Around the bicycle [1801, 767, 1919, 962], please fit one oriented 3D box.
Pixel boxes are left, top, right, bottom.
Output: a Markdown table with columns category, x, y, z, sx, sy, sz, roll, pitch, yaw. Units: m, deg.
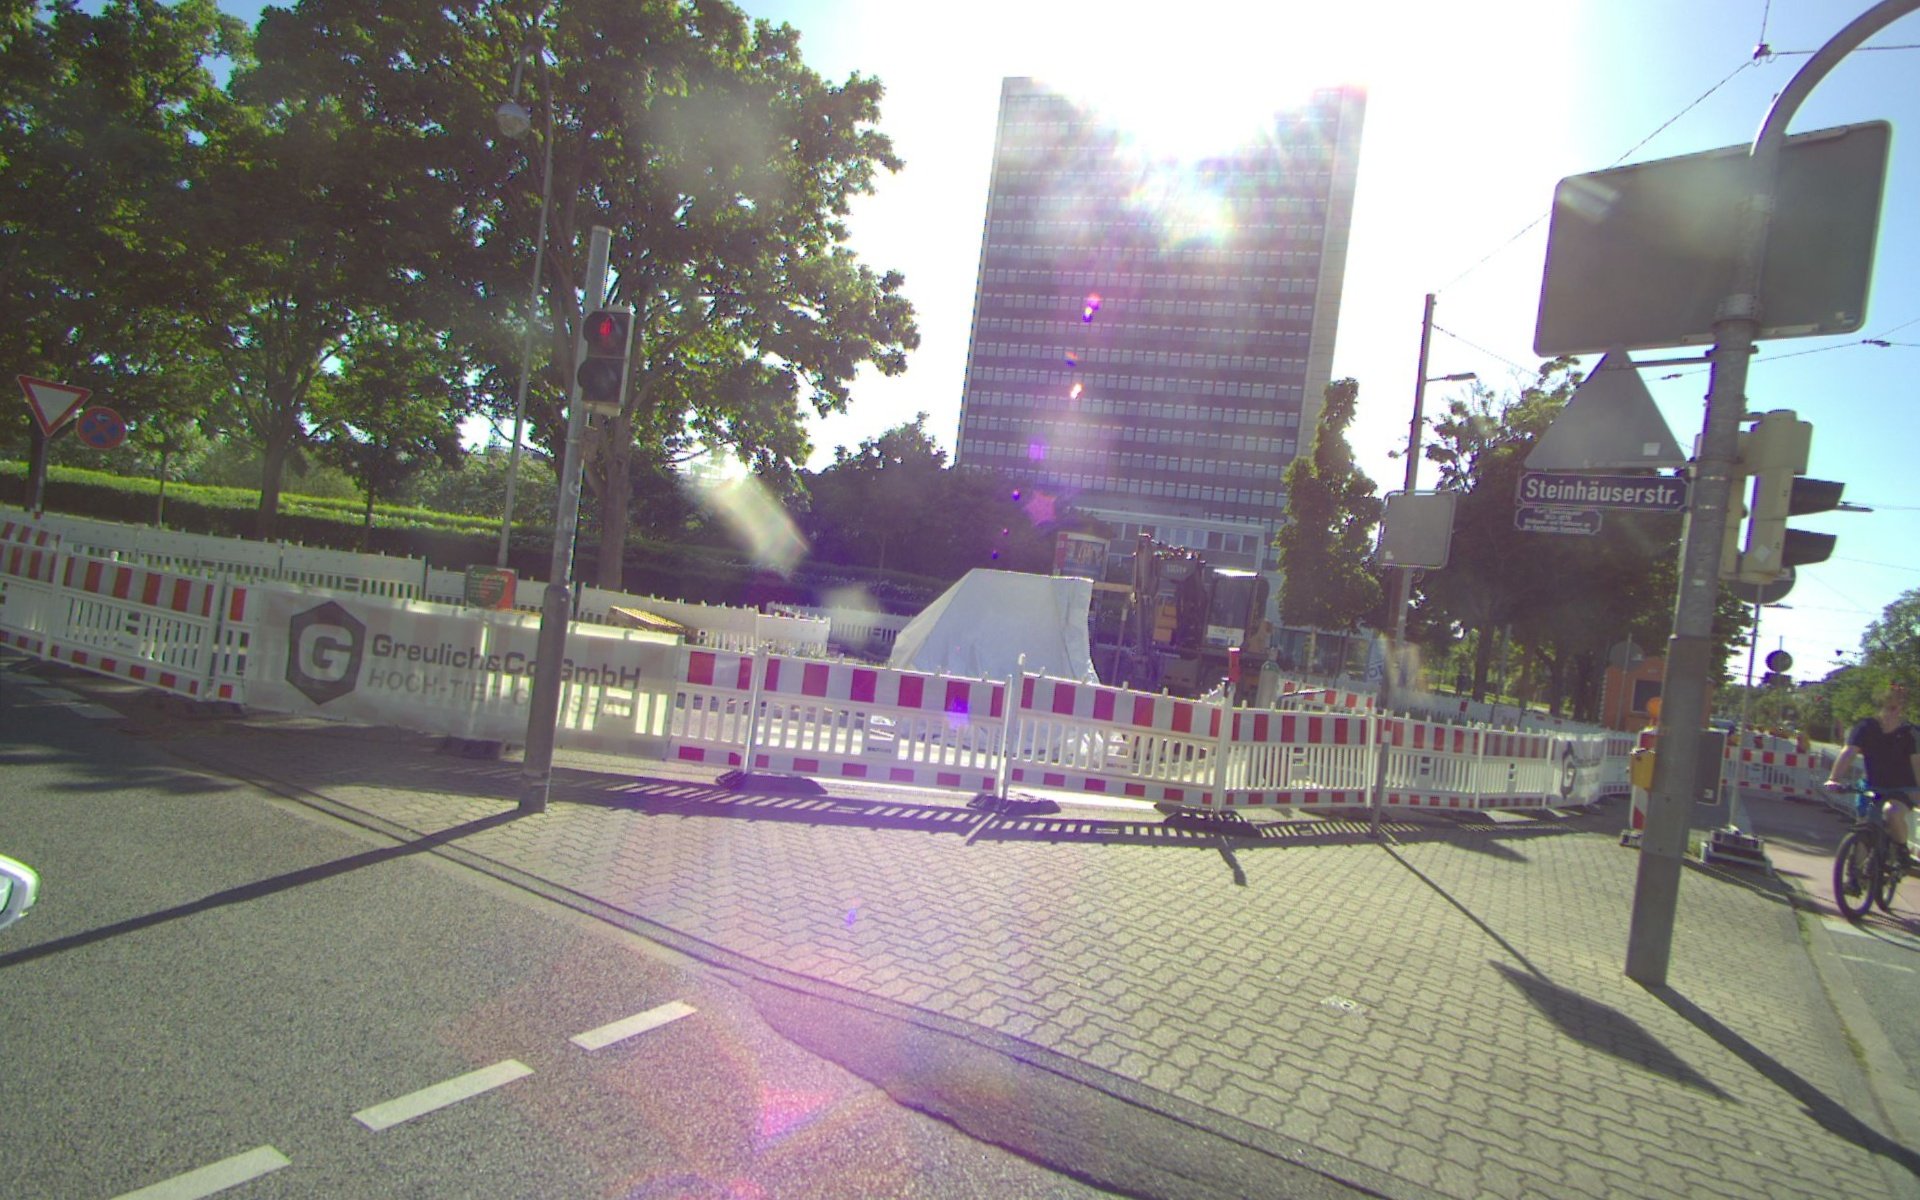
| category | x | y | z | sx | sy | sz | roll | pitch | yaw |
| --- | --- | --- | --- | --- | --- | --- | --- | --- | --- |
| bicycle | 7.665 | 2.150 | 8.494 | 0.645 | 1.282 | 1.777 | 9 | 1 | 38 |

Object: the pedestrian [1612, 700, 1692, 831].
| category | x | y | z | sx | sy | sz | roll | pitch | yaw |
| --- | --- | --- | --- | --- | --- | --- | --- | --- | --- |
| pedestrian | 9.281 | 2.205 | 13.490 | 0.627 | 1.620 | 0.636 | 8 | 1 | 44 |

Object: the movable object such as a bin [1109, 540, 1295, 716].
| category | x | y | z | sx | sy | sz | roll | pitch | yaw |
| --- | --- | --- | --- | --- | --- | --- | --- | --- | --- |
| movable object such as a bin | 5.723 | 0.730 | 23.259 | 2.786 | 3.403 | 4.707 | 7 | -1 | 28 |

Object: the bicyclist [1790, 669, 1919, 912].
| category | x | y | z | sx | sy | sz | roll | pitch | yaw |
| --- | --- | --- | --- | --- | --- | --- | --- | --- | --- |
| bicyclist | 7.896 | 1.594 | 8.657 | 0.900 | 1.853 | 1.092 | 8 | 1 | 37 |
